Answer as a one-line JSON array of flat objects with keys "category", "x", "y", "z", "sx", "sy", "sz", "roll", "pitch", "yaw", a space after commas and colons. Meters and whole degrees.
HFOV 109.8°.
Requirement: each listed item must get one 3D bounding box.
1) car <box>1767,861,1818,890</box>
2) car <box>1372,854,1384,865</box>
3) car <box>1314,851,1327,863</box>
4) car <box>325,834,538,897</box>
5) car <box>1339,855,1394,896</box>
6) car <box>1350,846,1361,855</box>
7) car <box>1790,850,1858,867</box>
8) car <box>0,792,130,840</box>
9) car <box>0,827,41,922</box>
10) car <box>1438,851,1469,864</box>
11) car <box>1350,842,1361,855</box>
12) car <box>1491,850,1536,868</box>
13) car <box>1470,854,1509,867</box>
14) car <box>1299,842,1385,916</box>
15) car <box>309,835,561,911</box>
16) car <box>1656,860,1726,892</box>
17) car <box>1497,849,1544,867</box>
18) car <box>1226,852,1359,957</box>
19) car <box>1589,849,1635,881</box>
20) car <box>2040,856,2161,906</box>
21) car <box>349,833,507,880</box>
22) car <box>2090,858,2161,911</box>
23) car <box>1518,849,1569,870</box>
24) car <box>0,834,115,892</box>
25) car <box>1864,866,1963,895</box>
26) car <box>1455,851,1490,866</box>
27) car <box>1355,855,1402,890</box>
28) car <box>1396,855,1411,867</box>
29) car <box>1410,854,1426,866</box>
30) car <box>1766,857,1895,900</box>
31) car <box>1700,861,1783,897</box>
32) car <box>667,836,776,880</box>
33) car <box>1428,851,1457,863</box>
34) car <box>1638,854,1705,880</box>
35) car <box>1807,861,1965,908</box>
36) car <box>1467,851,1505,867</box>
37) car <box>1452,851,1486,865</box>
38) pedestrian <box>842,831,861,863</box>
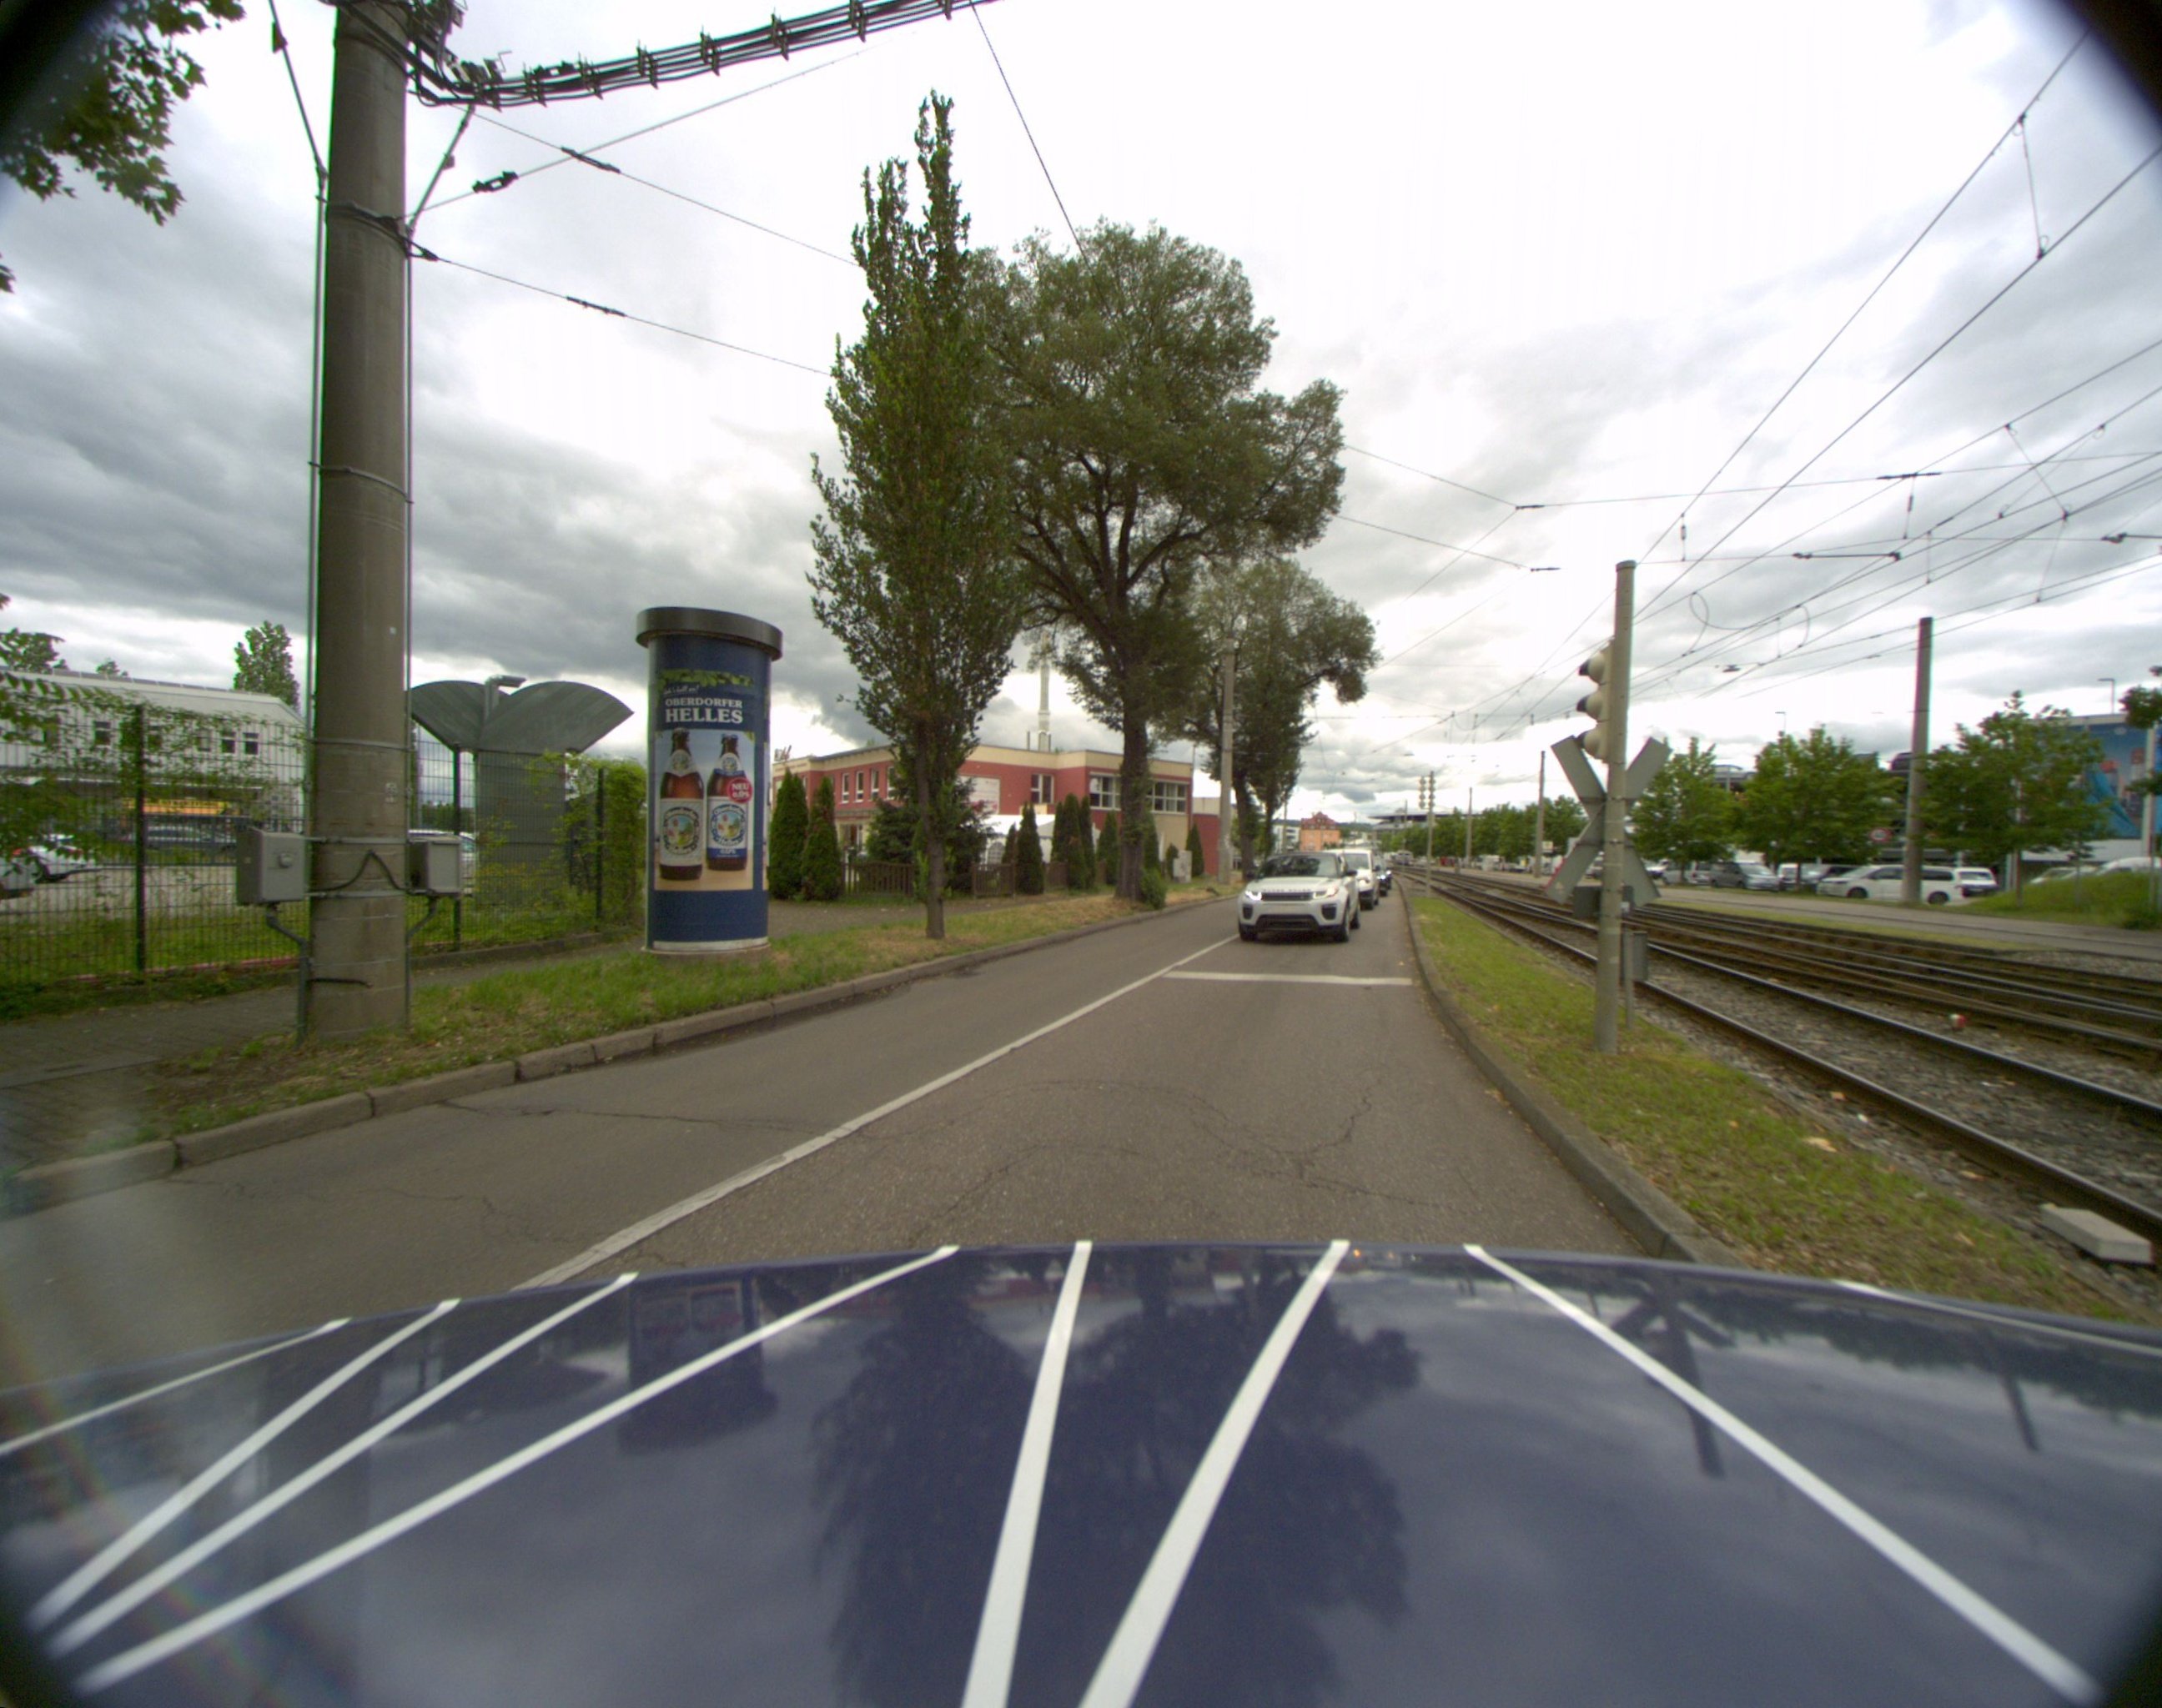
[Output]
[{"category": "car", "x": 51.452, "y": 1.542, "z": 55.021, "sx": 1.898, "sy": 1.882, "sz": 4.605, "roll": -2, "pitch": 0, "yaw": 33}, {"category": "car", "x": 55.605, "y": 1.078, "z": 142.295, "sx": 1.901, "sy": 1.709, "sz": 4.141, "roll": 7, "pitch": 4, "yaw": 19}, {"category": "car", "x": 39.792, "y": 0.463, "z": 126.257, "sx": 1.902, "sy": 1.709, "sz": 4.141, "roll": 6, "pitch": 3, "yaw": 17}, {"category": "car", "x": -18.601, "y": 0.288, "z": 21.987, "sx": 4.511, "sy": 1.656, "sz": 1.994, "roll": 0, "pitch": 1, "yaw": -41}, {"category": "car", "x": 11.846, "y": 0.841, "z": 31.702, "sx": 1.996, "sy": 1.547, "sz": 4.567, "roll": -1, "pitch": 1, "yaw": 19}, {"category": "car", "x": 66.109, "y": -0.787, "z": 182.976, "sx": 1.996, "sy": 2.002, "sz": 4.004, "roll": -2, "pitch": 0, "yaw": 15}, {"category": "car", "x": 81.436, "y": 0.506, "z": 83.407, "sx": 5.214, "sy": 1.825, "sz": 1.984, "roll": -2, "pitch": 0, "yaw": 43}, {"category": "car", "x": -38.792, "y": -1.387, "z": 28.069, "sx": 4.279, "sy": 1.640, "sz": 1.994, "roll": -2, "pitch": 0, "yaw": -44}, {"category": "car", "x": -20.231, "y": 0.393, "z": 11.855, "sx": 1.996, "sy": 1.640, "sz": 4.277, "roll": -2, "pitch": 0, "yaw": 19}, {"category": "car", "x": 65.635, "y": 0.601, "z": 133.925, "sx": 4.631, "sy": 2.196, "sz": 2.111, "roll": -2, "pitch": 0, "yaw": 14}, {"category": "car", "x": 68.196, "y": -1.362, "z": 188.653, "sx": 2.406, "sy": 2.931, "sz": 4.755, "roll": -2, "pitch": 0, "yaw": 19}, {"category": "car", "x": 55.974, "y": 0.665, "z": 98.485, "sx": 4.631, "sy": 2.196, "sz": 2.111, "roll": -2, "pitch": 0, "yaw": 14}, {"category": "car", "x": 59.045, "y": 0.945, "z": 109.855, "sx": 4.631, "sy": 1.829, "sz": 2.111, "roll": -2, "pitch": 0, "yaw": 14}, {"category": "car", "x": 8.080, "y": 0.655, "z": 23.246, "sx": 1.995, "sy": 1.990, "sz": 5.043, "roll": 1, "pitch": 1, "yaw": 24}, {"category": "car", "x": -15.649, "y": 0.405, "z": 18.683, "sx": 4.511, "sy": 1.656, "sz": 1.994, "roll": 0, "pitch": 1, "yaw": -41}, {"category": "car", "x": 44.336, "y": 1.535, "z": 55.365, "sx": 2.139, "sy": 2.103, "sz": 4.781, "roll": -2, "pitch": 0, "yaw": 13}, {"category": "car", "x": 55.341, "y": 0.485, "z": 95.735, "sx": 4.631, "sy": 2.196, "sz": 2.111, "roll": -2, "pitch": 0, "yaw": 14}, {"category": "car", "x": 4.205, "y": 0.825, "z": 14.573, "sx": 1.995, "sy": 1.680, "sz": 4.275, "roll": -1, "pitch": 0, "yaw": 22}, {"category": "car", "x": 52.516, "y": 1.037, "z": 75.280, "sx": 2.316, "sy": 2.993, "sz": 6.167, "roll": -2, "pitch": 0, "yaw": 21}, {"category": "car", "x": 50.830, "y": 1.277, "z": 36.376, "sx": 5.836, "sy": 2.254, "sz": 2.057, "roll": -2, "pitch": 0, "yaw": 44}, {"category": "car", "x": -25.074, "y": 0.073, "z": 29.341, "sx": 4.511, "sy": 1.656, "sz": 1.994, "roll": 0, "pitch": 1, "yaw": -41}, {"category": "car", "x": 48.989, "y": 1.328, "z": 33.061, "sx": 5.847, "sy": 2.254, "sz": 2.057, "roll": -2, "pitch": 0, "yaw": 44}, {"category": "car", "x": 53.716, "y": 0.639, "z": 88.267, "sx": 4.631, "sy": 2.196, "sz": 2.111, "roll": -2, "pitch": 0, "yaw": 14}, {"category": "car", "x": -31.290, "y": 0.284, "z": 21.710, "sx": 4.279, "sy": 1.640, "sz": 1.994, "roll": -2, "pitch": 0, "yaw": -44}, {"category": "car", "x": 55.798, "y": 1.745, "z": 51.037, "sx": 4.225, "sy": 1.825, "sz": 1.984, "roll": -2, "pitch": 0, "yaw": 41}, {"category": "car", "x": 62.705, "y": 0.670, "z": 121.775, "sx": 4.631, "sy": 2.196, "sz": 2.111, "roll": -2, "pitch": 0, "yaw": 14}, {"category": "car", "x": 14.604, "y": 0.884, "z": 37.525, "sx": 1.996, "sy": 1.547, "sz": 4.567, "roll": -1, "pitch": 1, "yaw": 19}, {"category": "car", "x": 51.155, "y": 1.093, "z": 120.534, "sx": 1.902, "sy": 1.708, "sz": 4.141, "roll": -1, "pitch": 2, "yaw": 20}, {"category": "car", "x": 54.989, "y": 0.967, "z": 124.165, "sx": 1.901, "sy": 1.709, "sz": 4.141, "roll": 7, "pitch": 4, "yaw": 19}, {"category": "car", "x": 42.125, "y": 1.382, "z": 42.852, "sx": 4.766, "sy": 2.254, "sz": 1.983, "roll": -2, "pitch": 0, "yaw": 19}, {"category": "car", "x": 42.700, "y": 1.559, "z": 49.282, "sx": 2.138, "sy": 2.103, "sz": 4.781, "roll": -2, "pitch": 0, "yaw": 15}, {"category": "car", "x": -15.360, "y": 0.135, "z": 32.690, "sx": 1.851, "sy": 1.739, "sz": 4.006, "roll": -2, "pitch": 0, "yaw": 22}, {"category": "car", "x": 67.680, "y": 0.553, "z": 142.256, "sx": 4.631, "sy": 2.196, "sz": 2.111, "roll": -2, "pitch": 0, "yaw": 14}, {"category": "car", "x": 63.930, "y": 1.426, "z": 82.297, "sx": 6.049, "sy": 2.607, "sz": 2.319, "roll": -2, "pitch": 0, "yaw": -12}, {"category": "car", "x": 41.340, "y": 1.571, "z": 39.199, "sx": 5.261, "sy": 2.254, "sz": 2.003, "roll": -2, "pitch": 0, "yaw": 19}, {"category": "car", "x": 59.748, "y": 0.744, "z": 112.158, "sx": 4.631, "sy": 2.196, "sz": 2.111, "roll": -2, "pitch": 0, "yaw": 14}, {"category": "car", "x": 63.345, "y": 0.655, "z": 124.146, "sx": 4.631, "sy": 2.196, "sz": 2.111, "roll": -2, "pitch": 0, "yaw": 14}, {"category": "pedestrian", "x": -12.619, "y": -0.372, "z": 41.771, "sx": 0.867, "sy": 1.751, "sz": 0.600, "roll": -2, "pitch": 0, "yaw": -23}]
